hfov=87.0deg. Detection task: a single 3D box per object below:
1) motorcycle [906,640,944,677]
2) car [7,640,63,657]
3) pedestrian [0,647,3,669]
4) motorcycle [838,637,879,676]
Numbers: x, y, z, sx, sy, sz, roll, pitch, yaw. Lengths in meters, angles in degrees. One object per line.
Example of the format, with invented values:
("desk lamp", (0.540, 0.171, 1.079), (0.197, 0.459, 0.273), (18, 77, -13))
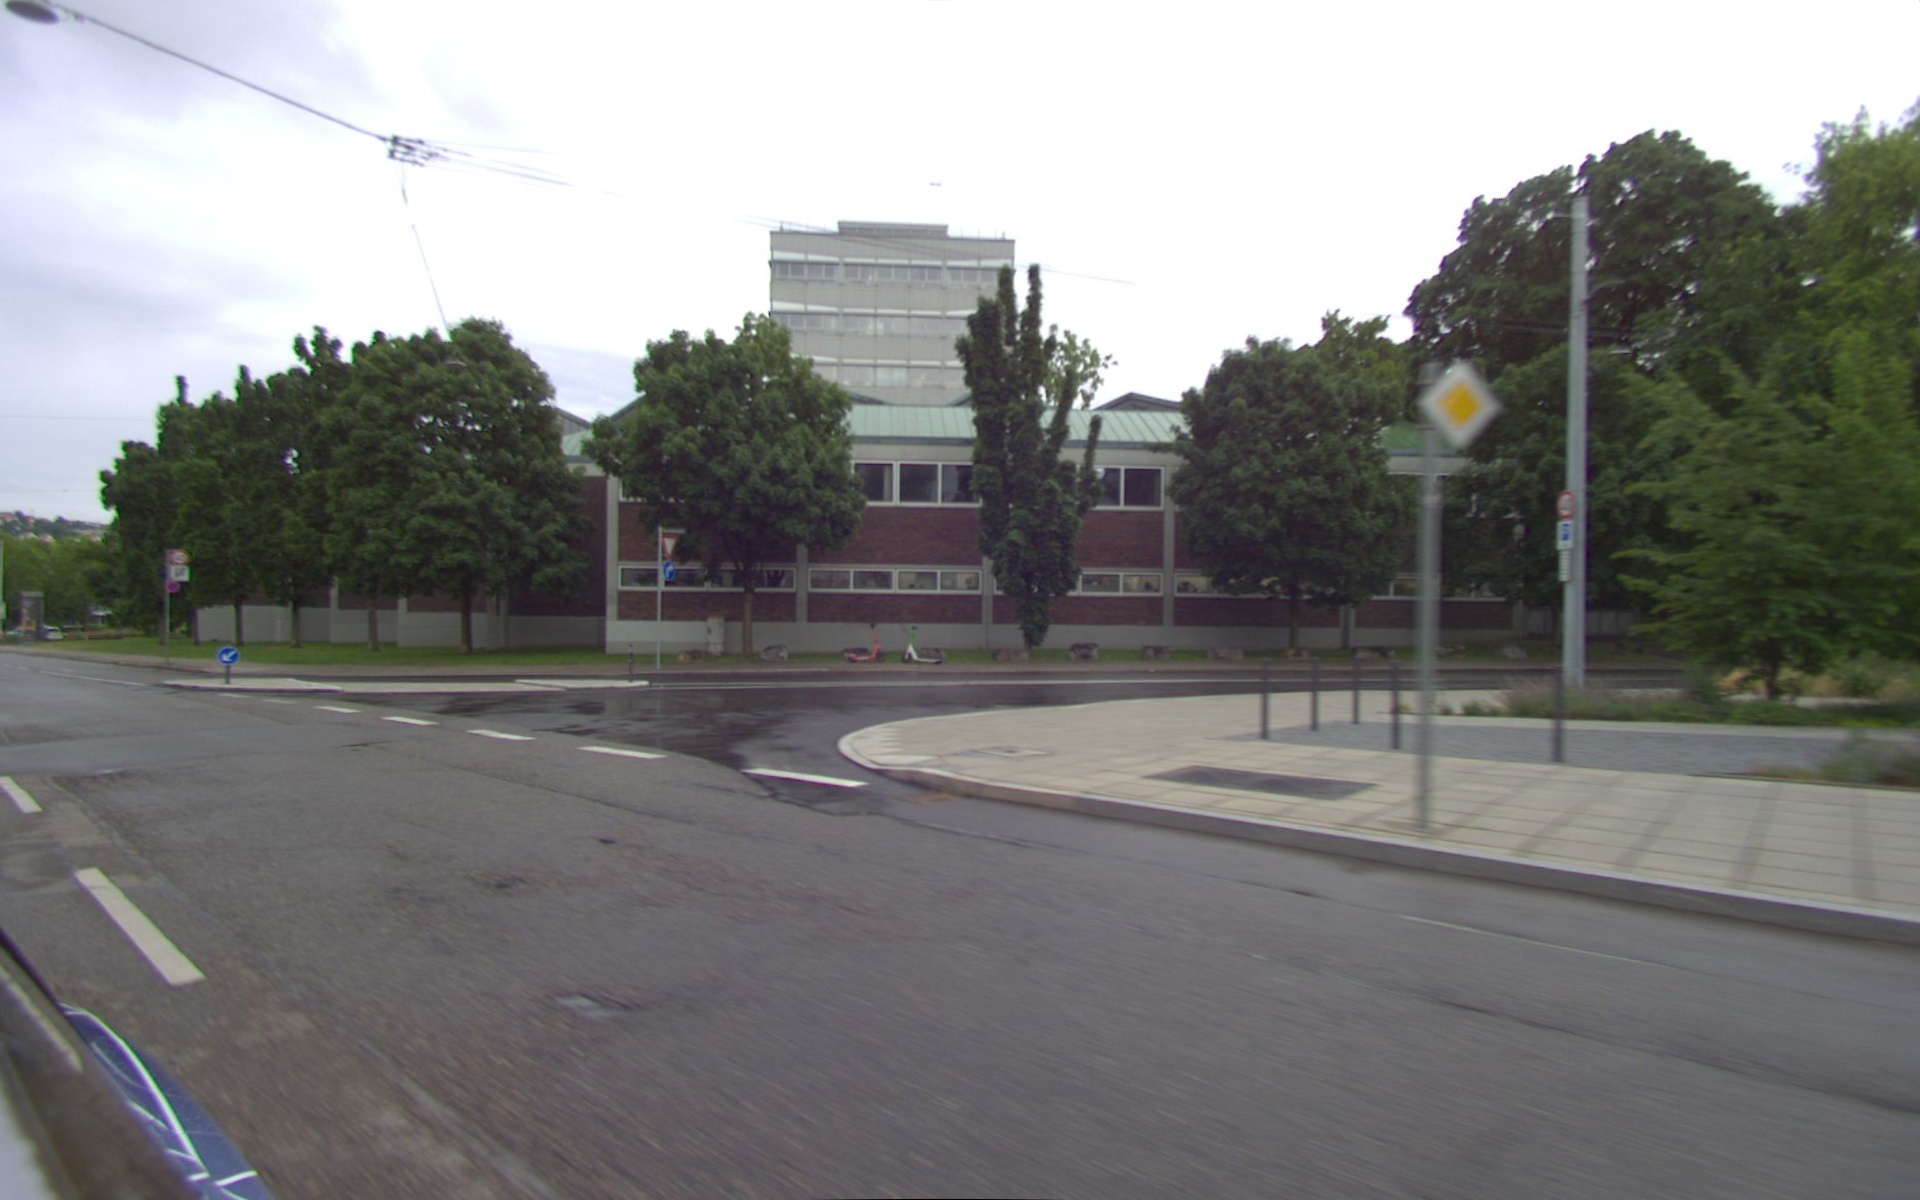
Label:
("motorcycle", (-1.096, 1.832, 31.878), (1.151, 1.133, 0.414), (0, -1, -11))
("car", (-94.413, 4.928, 103.303), (4.474, 1.621, 1.864), (-1, 0, 8))
("pedestrian", (-78.066, 4.721, 81.991), (0.662, 1.699, 0.914), (-1, 0, -41))
("motorcycle", (-3.180, 1.762, 31.694), (1.207, 1.194, 0.414), (-1, 0, -11))
